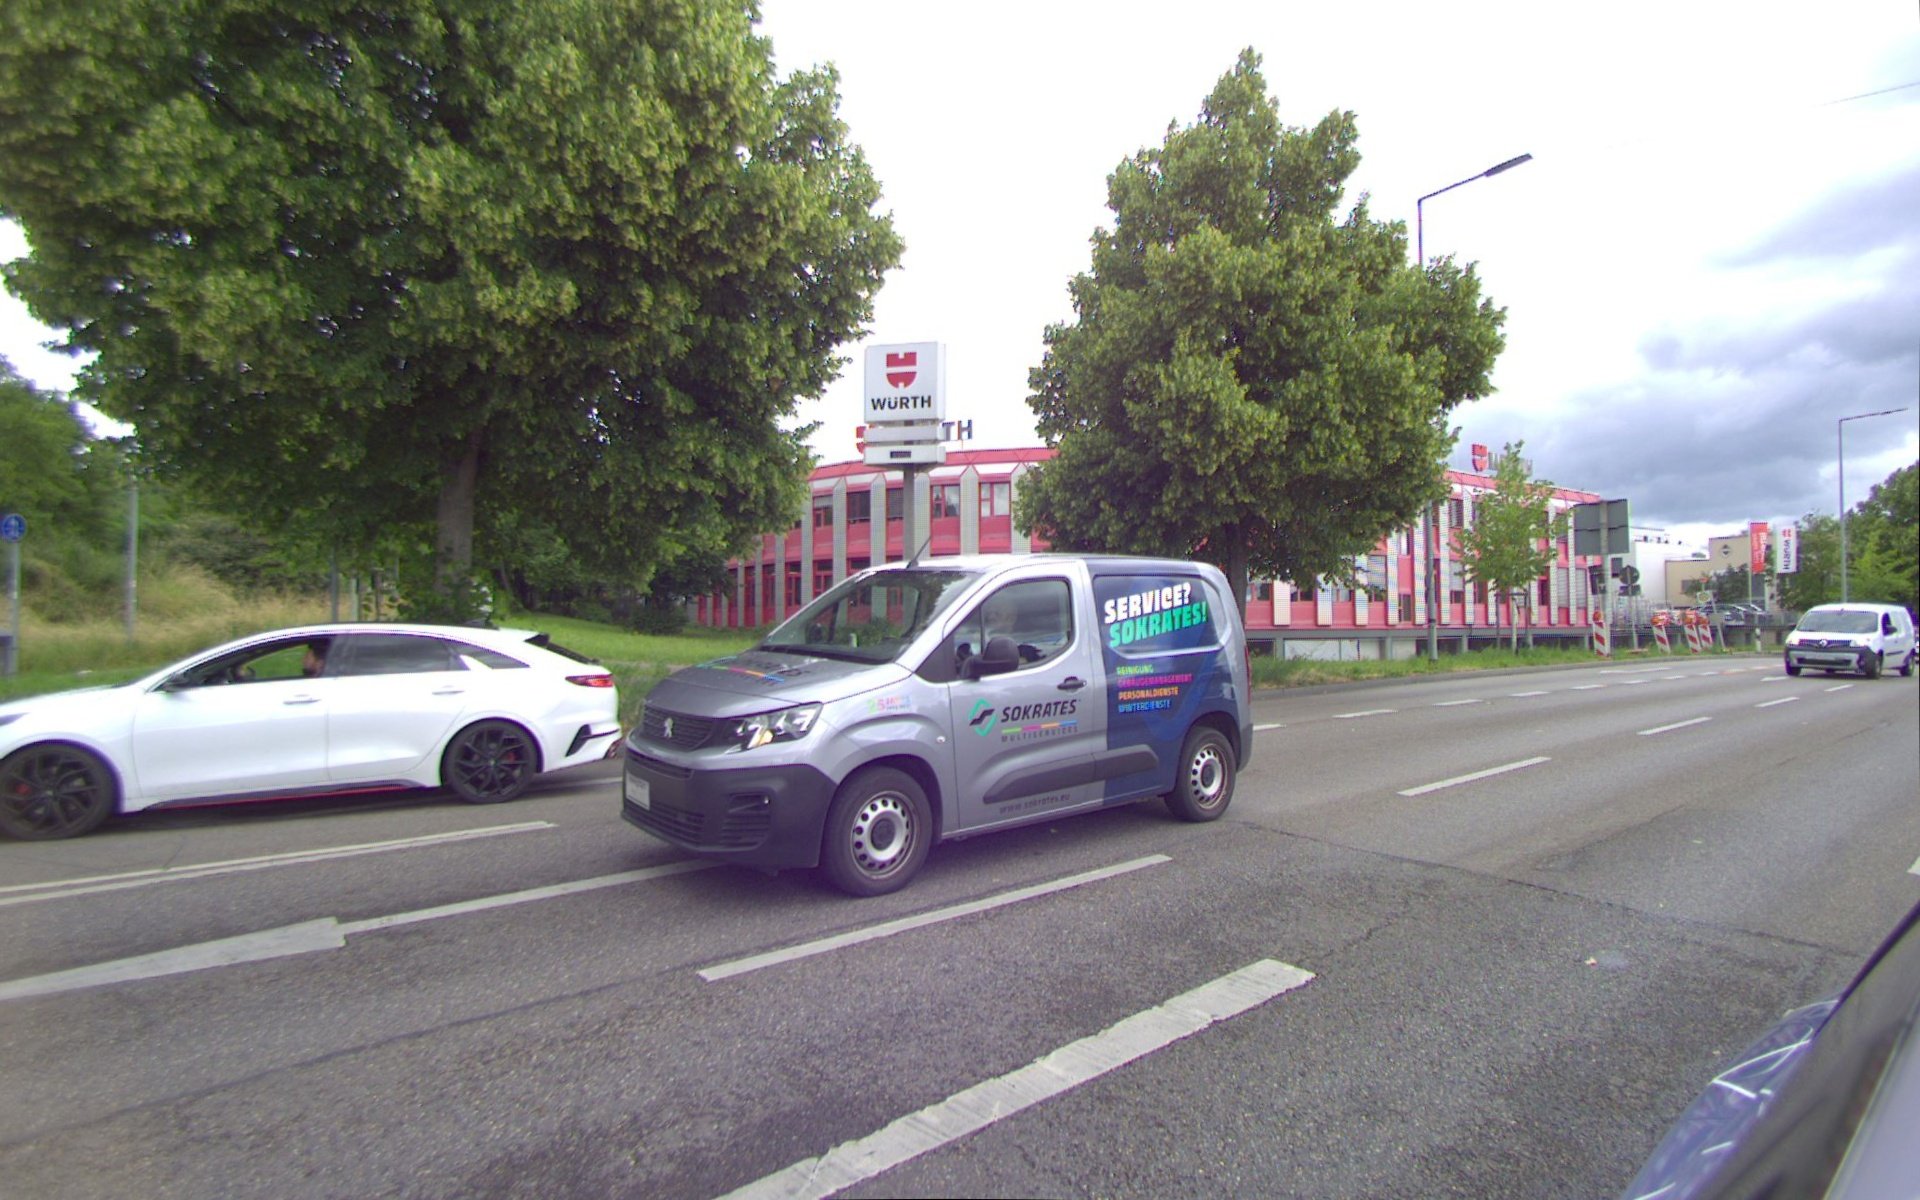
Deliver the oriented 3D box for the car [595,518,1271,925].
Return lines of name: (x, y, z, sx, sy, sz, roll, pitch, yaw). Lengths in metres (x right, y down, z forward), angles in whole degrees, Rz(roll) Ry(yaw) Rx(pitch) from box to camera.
car: (0.044, 0.525, 6.522, 4.147, 1.802, 1.812, 0, 0, -40)

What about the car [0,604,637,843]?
car: (-4.954, 0.806, 7.869, 4.421, 1.438, 1.838, -1, -2, -26)

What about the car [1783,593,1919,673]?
car: (22.289, 0.794, 25.040, 4.607, 1.815, 1.814, 1, -1, -35)
